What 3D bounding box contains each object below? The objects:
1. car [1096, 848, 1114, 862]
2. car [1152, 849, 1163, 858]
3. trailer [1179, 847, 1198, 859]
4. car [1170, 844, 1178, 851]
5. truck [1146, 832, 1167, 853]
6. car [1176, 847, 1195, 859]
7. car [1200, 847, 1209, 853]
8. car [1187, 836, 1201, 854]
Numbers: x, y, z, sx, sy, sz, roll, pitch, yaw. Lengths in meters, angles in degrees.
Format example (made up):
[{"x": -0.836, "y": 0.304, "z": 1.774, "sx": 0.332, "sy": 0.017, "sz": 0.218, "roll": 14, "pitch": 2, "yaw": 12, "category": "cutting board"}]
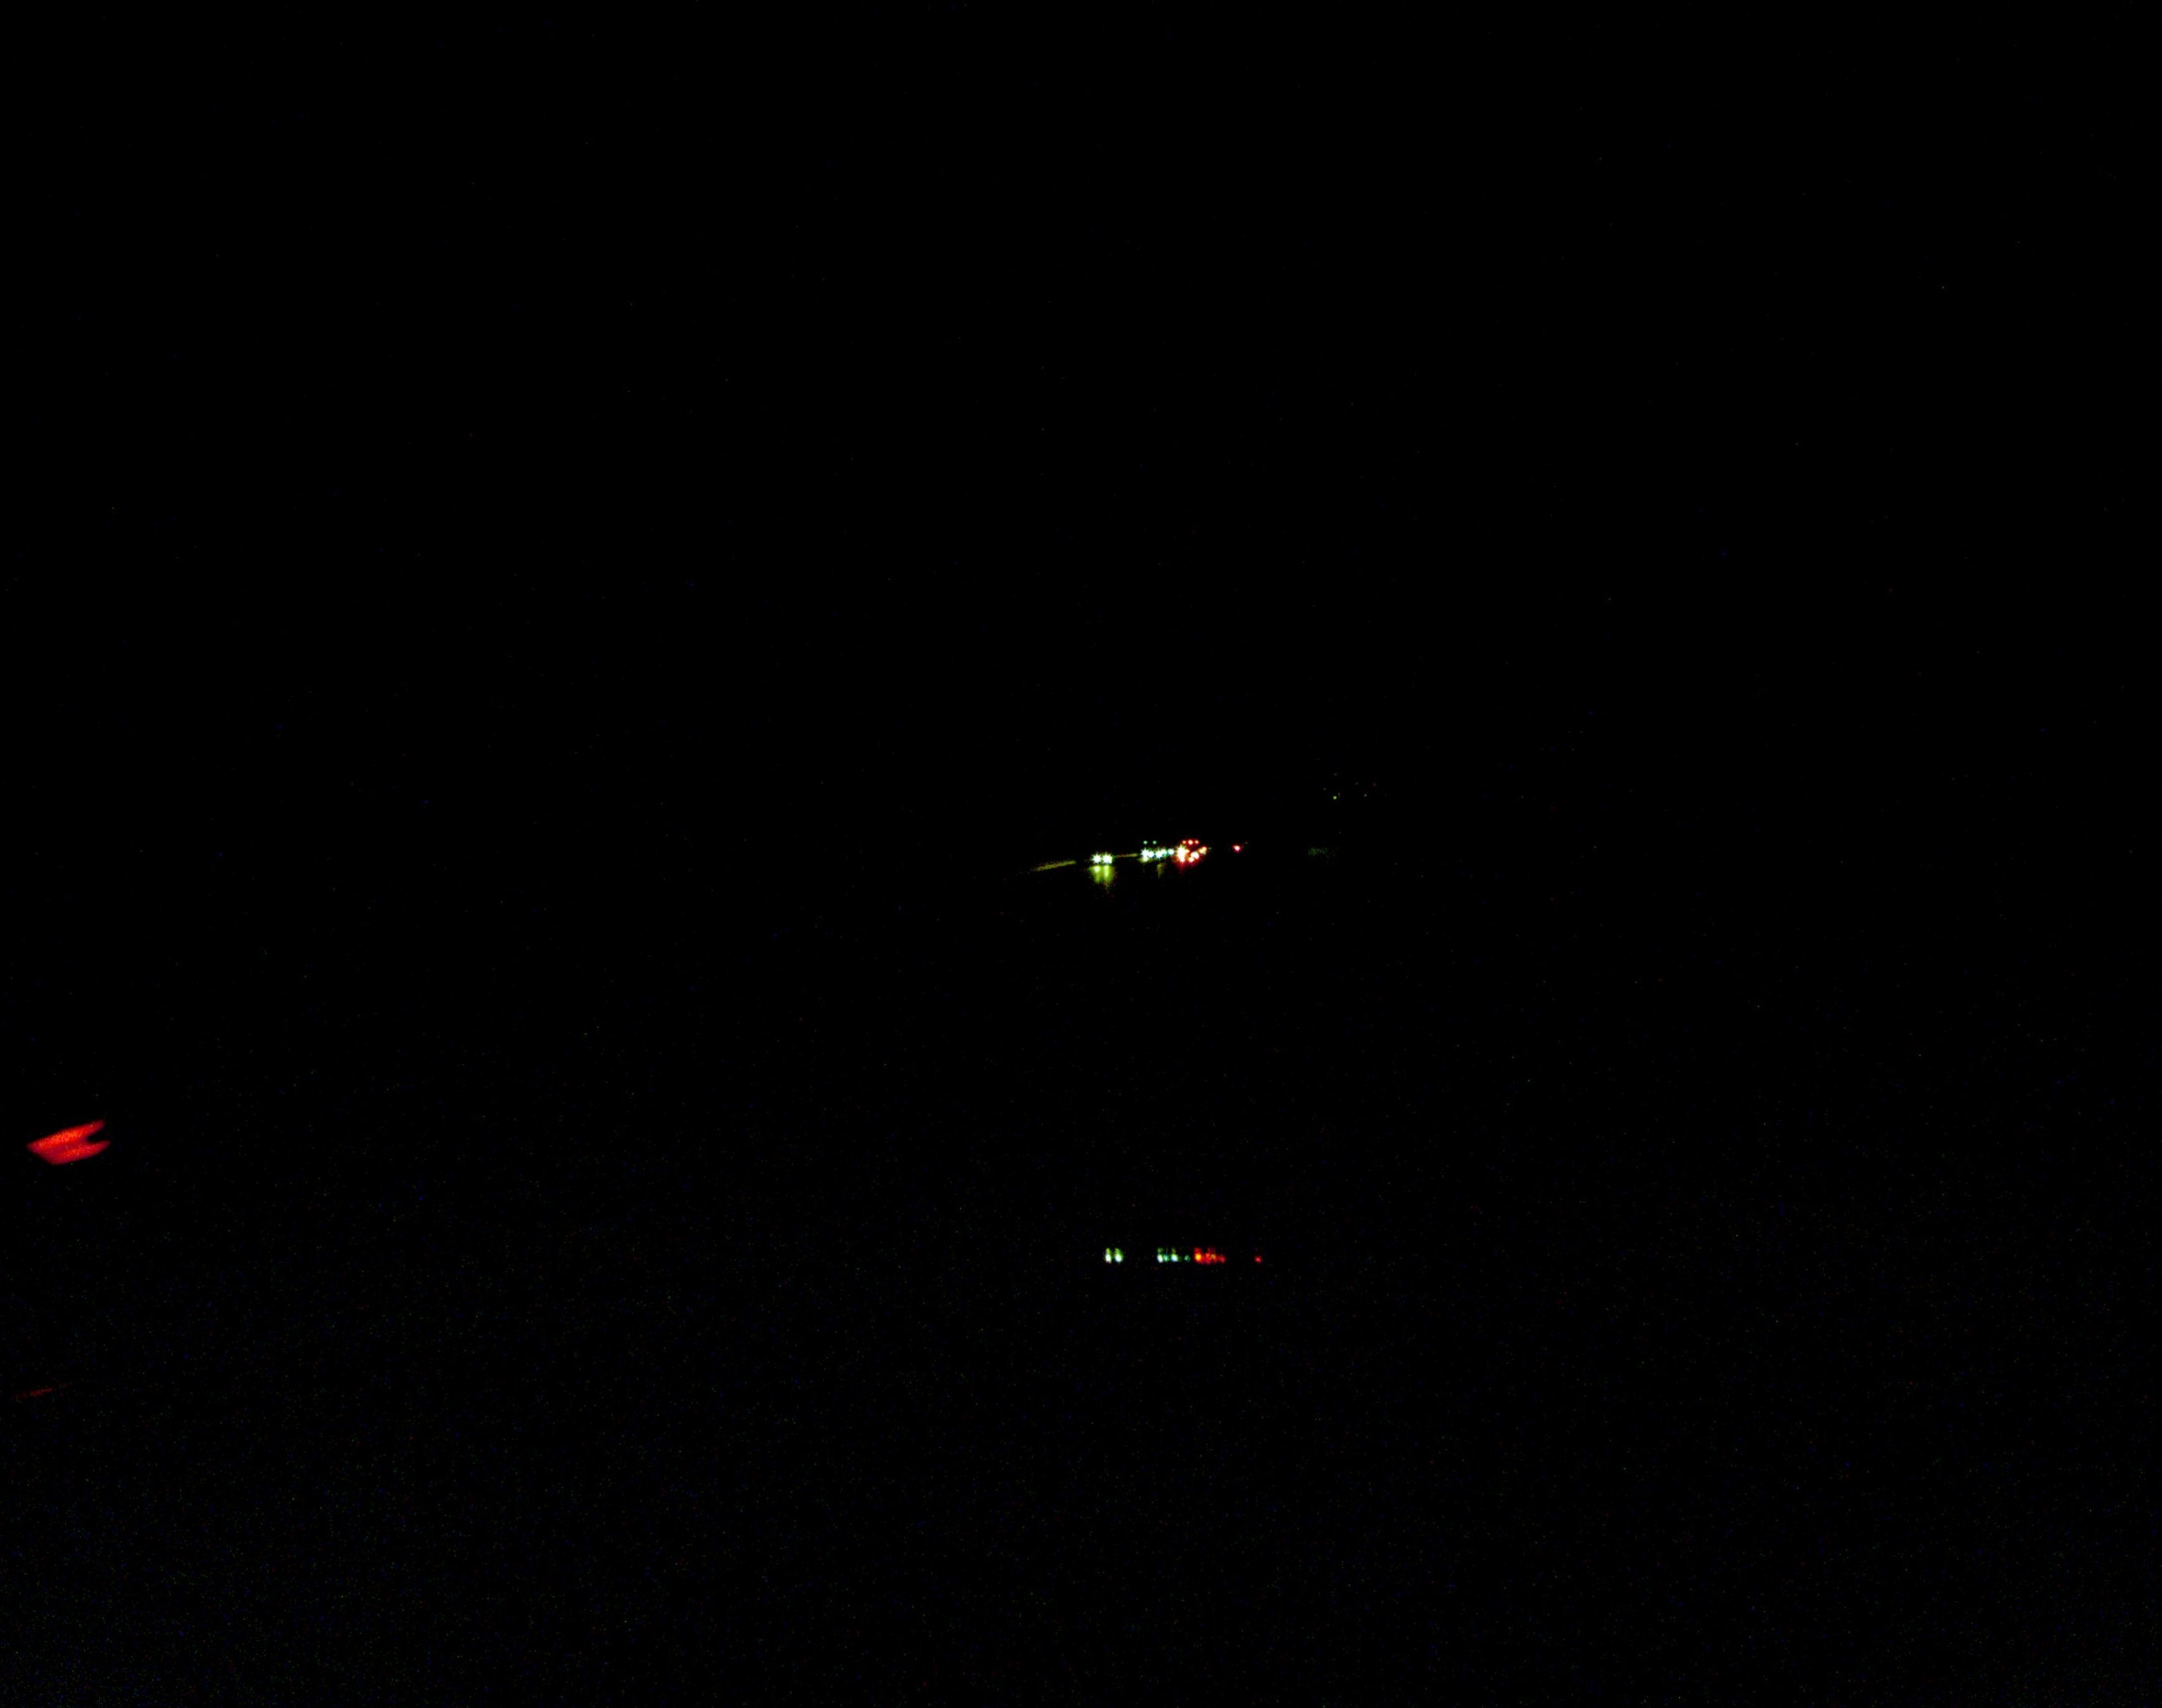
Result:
[{"x": 2.890, "y": 0.124, "z": 89.902, "sx": 1.811, "sy": 1.508, "sz": 3.937, "roll": 0, "pitch": 0, "yaw": 6, "category": "car"}, {"x": 14.291, "y": -0.075, "z": 142.201, "sx": 1.811, "sy": 1.508, "sz": 3.938, "roll": 0, "pitch": 0, "yaw": 8, "category": "car"}, {"x": 12.868, "y": -0.153, "z": 91.040, "sx": 1.888, "sy": 1.418, "sz": 3.351, "roll": 0, "pitch": 0, "yaw": 3, "category": "trailer"}, {"x": 23.486, "y": -1.676, "z": 191.392, "sx": 1.689, "sy": 1.619, "sz": 4.727, "roll": 0, "pitch": 0, "yaw": 13, "category": "car"}, {"x": 16.984, "y": -2.643, "z": 168.856, "sx": 2.969, "sy": 4.251, "sz": 17.155, "roll": 0, "pitch": 2, "yaw": 11, "category": "truck"}, {"x": 13.087, "y": -0.162, "z": 95.186, "sx": 1.917, "sy": 1.418, "sz": 4.953, "roll": 0, "pitch": 0, "yaw": 3, "category": "car"}, {"x": 28.922, "y": -0.891, "z": 178.055, "sx": 1.687, "sy": 1.450, "sz": 4.203, "roll": 0, "pitch": 1, "yaw": 12, "category": "car"}, {"x": 20.206, "y": -1.730, "z": 135.712, "sx": 2.490, "sy": 3.088, "sz": 7.388, "roll": 0, "pitch": 2, "yaw": 9, "category": "car"}]
